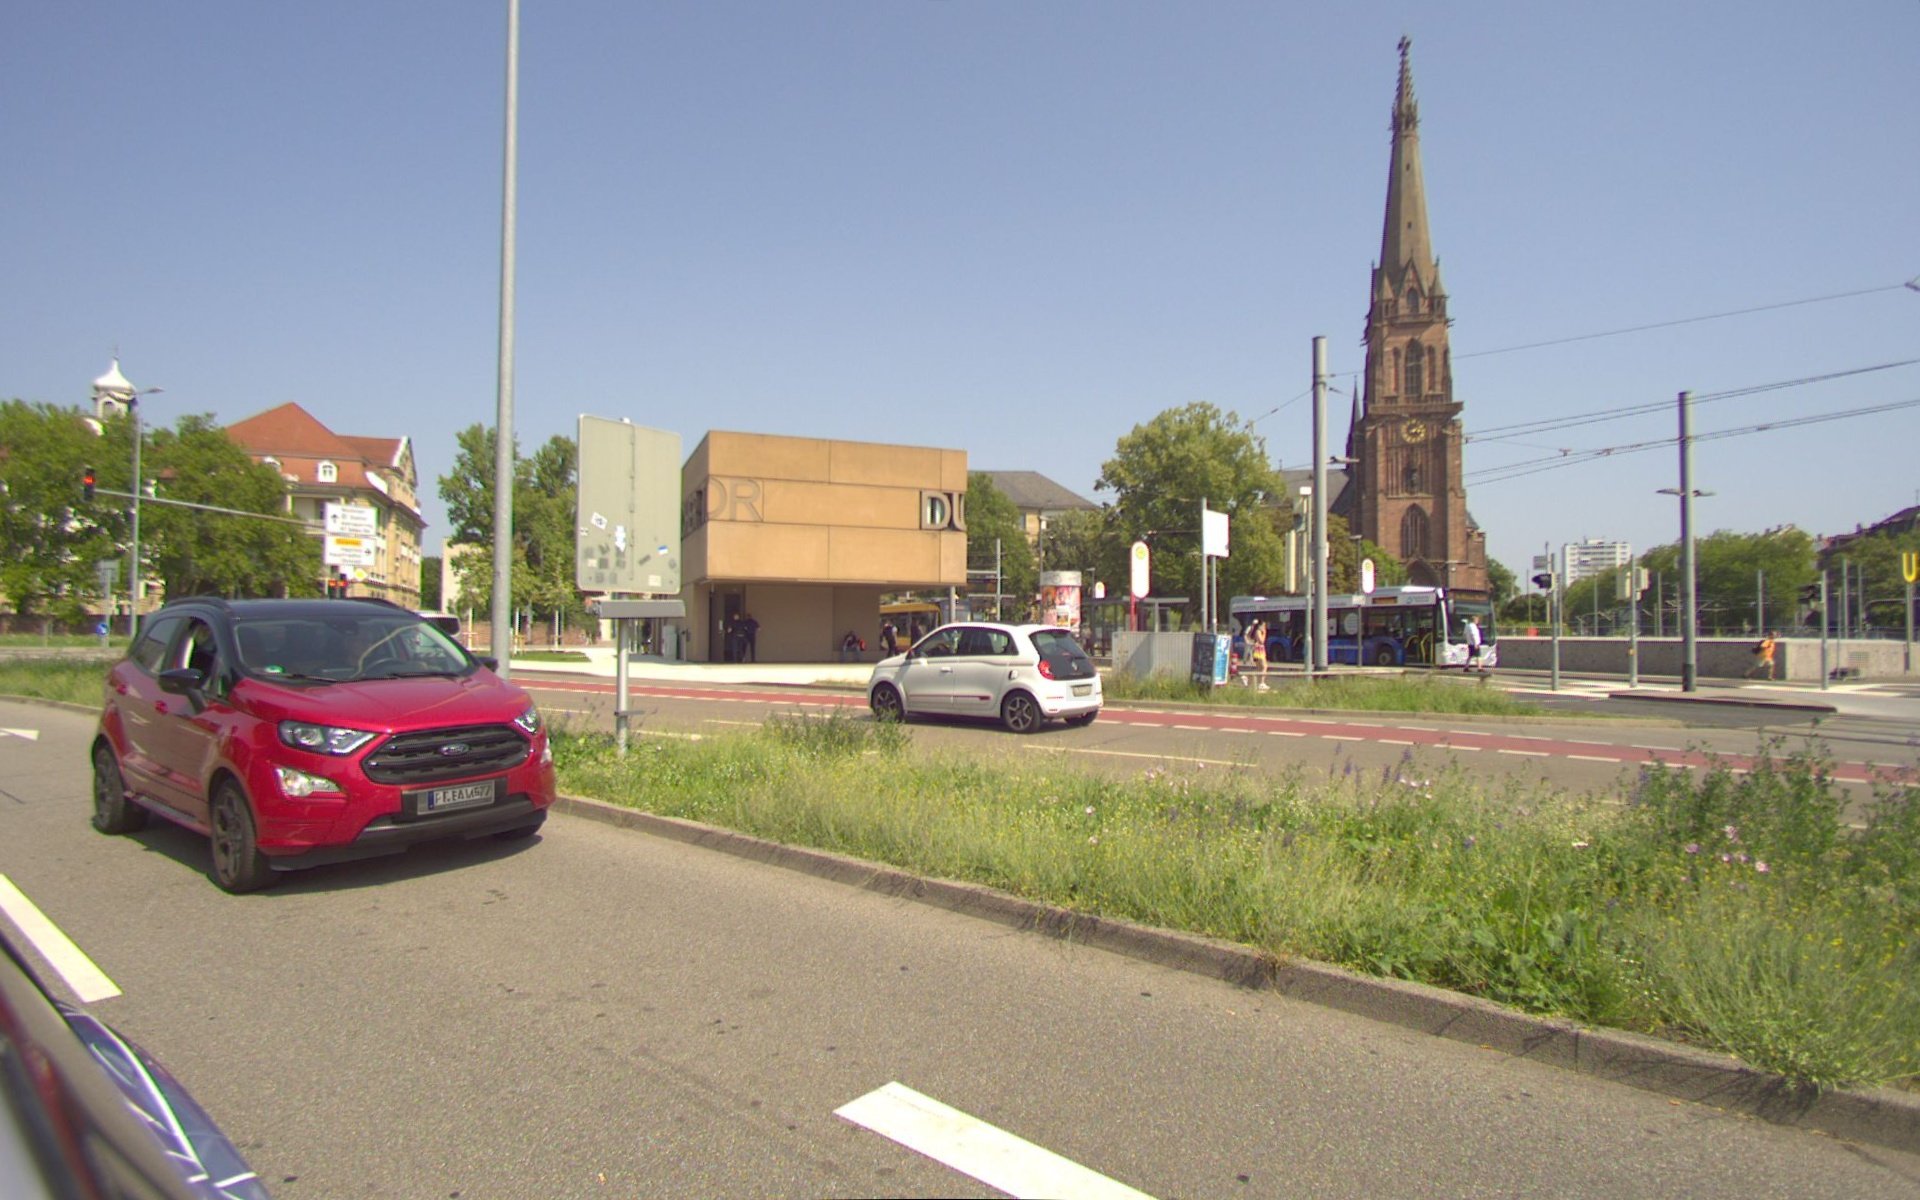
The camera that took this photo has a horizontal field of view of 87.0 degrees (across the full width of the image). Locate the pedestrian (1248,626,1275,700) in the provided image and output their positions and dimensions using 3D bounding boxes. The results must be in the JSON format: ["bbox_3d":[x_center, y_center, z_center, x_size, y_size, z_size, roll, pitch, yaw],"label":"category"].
[{"bbox_3d":[7.587,1.571,25.482,0.632,1.825,0.598,-1,0,16],"label":"pedestrian"}]

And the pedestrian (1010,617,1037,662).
[{"bbox_3d":[2.146,1.321,34.175,0.606,1.508,0.761,-1,-3,40],"label":"pedestrian"}]

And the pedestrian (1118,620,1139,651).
[{"bbox_3d":[9.480,2.013,56.941,0.832,1.709,0.961,1,-2,-21],"label":"pedestrian"}]

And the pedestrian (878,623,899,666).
[{"bbox_3d":[-2.563,1.597,36.322,0.541,1.508,0.532,-2,-3,40],"label":"pedestrian"}]

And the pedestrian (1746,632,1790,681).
[{"bbox_3d":[26.326,1.828,32.985,0.730,1.555,0.861,1,-2,-29],"label":"pedestrian"}]

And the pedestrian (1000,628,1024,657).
[{"bbox_3d":[3.016,2.475,59.160,1.060,1.709,1.068,1,-2,-22],"label":"pedestrian"}]

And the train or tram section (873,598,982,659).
[{"bbox_3d":[-2.362,1.831,63.993,2.658,3.465,13.463,1,-2,-21],"label":"train or tram section"}]

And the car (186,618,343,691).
[{"bbox_3d":[-14.756,1.127,21.446,3.466,1.437,1.509,-1,-2,33],"label":"car"}]

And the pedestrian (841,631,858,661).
[{"bbox_3d":[-4.084,1.688,37.382,0.530,1.108,0.543,1,-2,-18],"label":"pedestrian"}]

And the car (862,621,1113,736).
[{"bbox_3d":[0.343,1.079,14.819,3.473,1.490,1.507,-2,-2,38],"label":"car"}]

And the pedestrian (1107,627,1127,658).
[{"bbox_3d":[8.848,2.375,57.047,0.810,1.709,0.790,1,-2,-22],"label":"pedestrian"}]

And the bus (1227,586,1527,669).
[{"bbox_3d":[15.567,1.104,39.689,3.346,2.733,12.382,1,-2,-20],"label":"bus"}]

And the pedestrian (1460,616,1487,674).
[{"bbox_3d":[16.491,1.427,32.507,0.638,1.825,0.593,-1,0,41],"label":"pedestrian"}]

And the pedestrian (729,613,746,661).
[{"bbox_3d":[-7.657,1.267,34.787,0.532,1.637,0.690,1,-2,-14],"label":"pedestrian"}]

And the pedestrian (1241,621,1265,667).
[{"bbox_3d":[10.980,1.646,37.948,0.692,1.724,0.529,-2,-2,39],"label":"pedestrian"}]

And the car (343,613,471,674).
[{"bbox_3d":[-17.960,1.375,32.880,3.899,1.868,1.850,-1,-2,29],"label":"car"}]

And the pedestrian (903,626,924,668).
[{"bbox_3d":[-1.699,1.716,37.092,0.541,1.508,0.532,-2,-3,40],"label":"pedestrian"}]

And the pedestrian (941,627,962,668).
[{"bbox_3d":[-0.314,1.734,37.211,0.541,1.508,0.532,-2,-3,40],"label":"pedestrian"}]

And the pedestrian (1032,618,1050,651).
[{"bbox_3d":[4.427,1.883,55.404,0.792,1.837,0.535,1,-2,-21],"label":"pedestrian"}]

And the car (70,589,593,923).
[{"bbox_3d":[-4.276,0.784,6.677,3.838,1.598,1.674,-2,-1,37],"label":"car"}]
